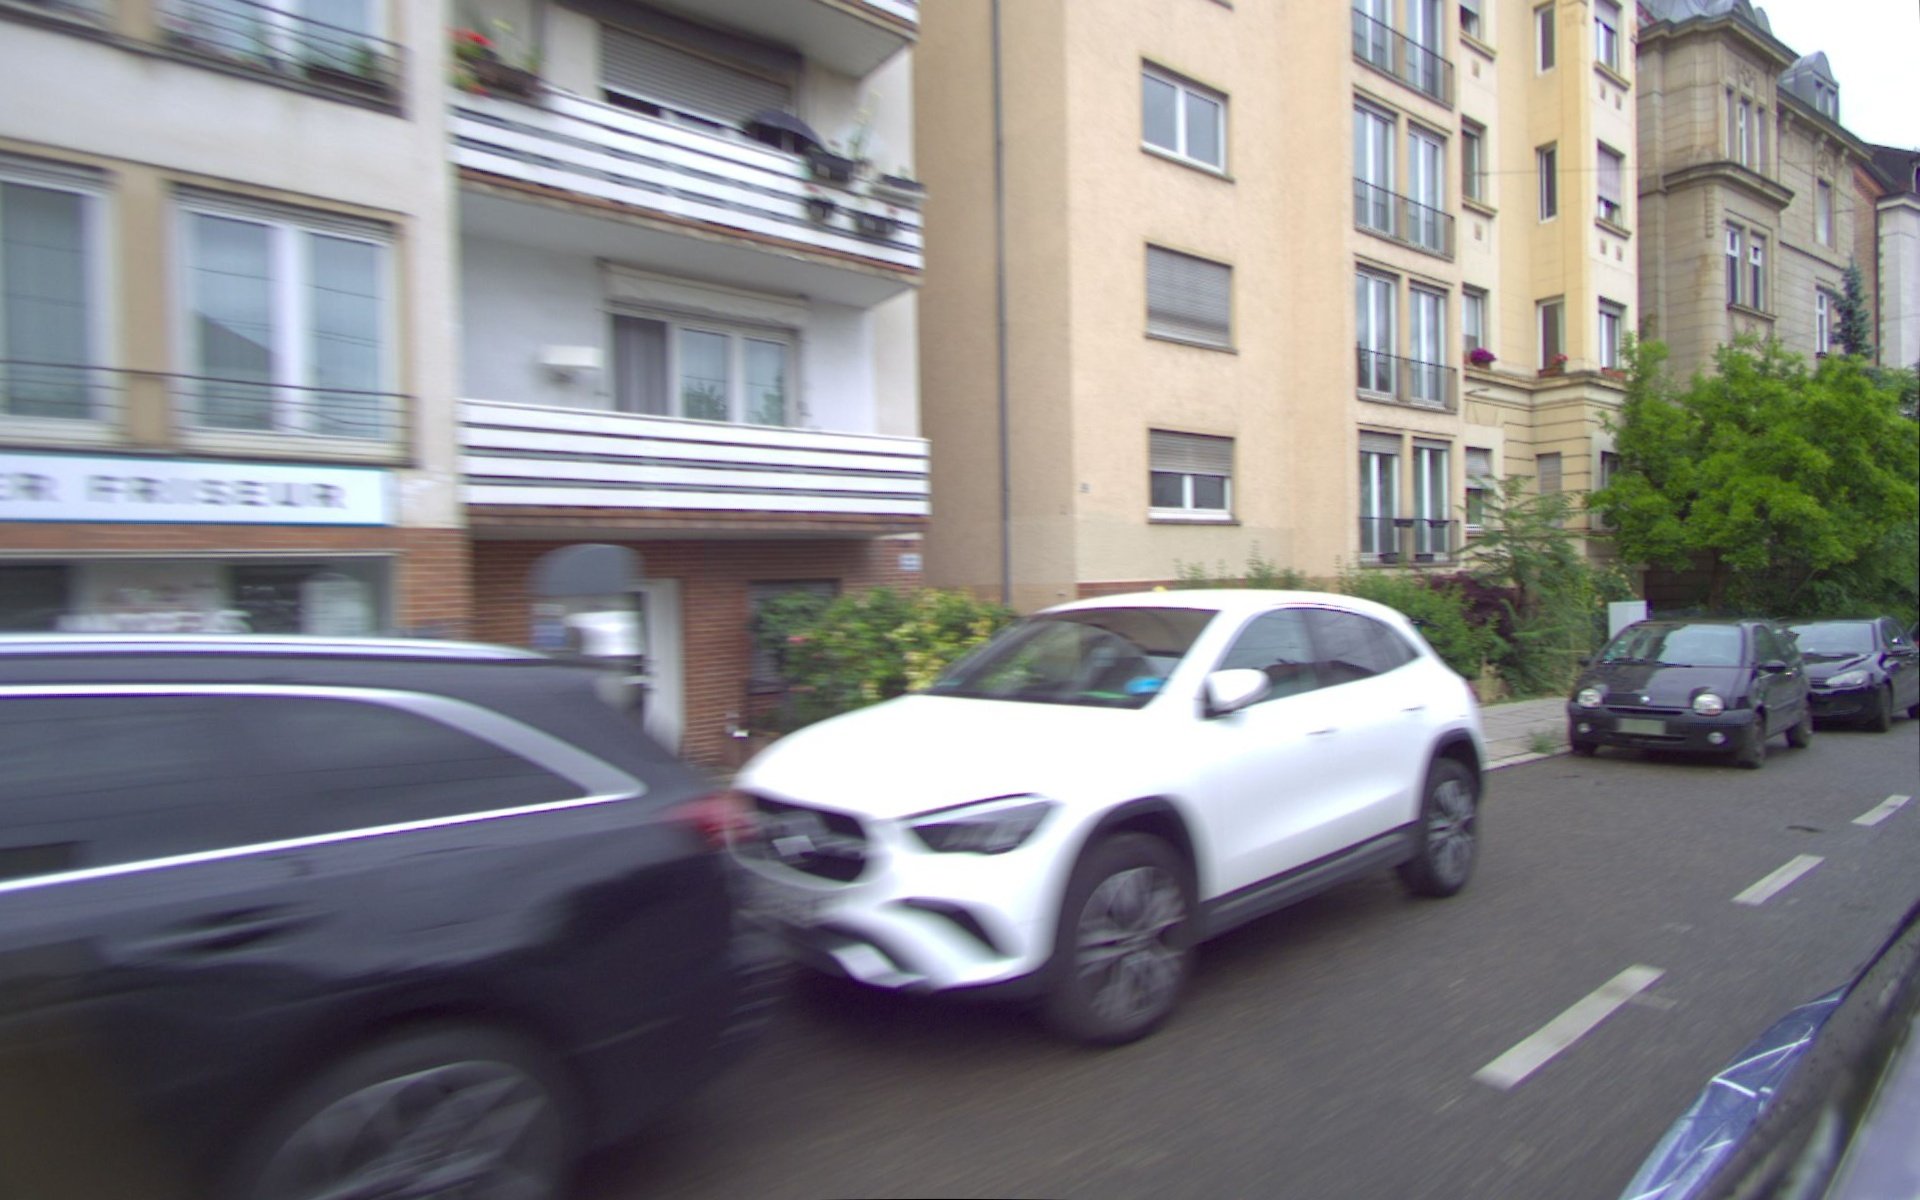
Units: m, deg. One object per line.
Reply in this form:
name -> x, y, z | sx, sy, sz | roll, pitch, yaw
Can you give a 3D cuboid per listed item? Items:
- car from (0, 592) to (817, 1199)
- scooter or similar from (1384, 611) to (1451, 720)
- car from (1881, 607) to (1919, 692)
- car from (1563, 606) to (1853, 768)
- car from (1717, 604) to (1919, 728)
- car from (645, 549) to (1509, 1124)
car -> -2.649, 0.786, 1.907 | 4.489, 1.532, 1.704 | 1, -3, -40
scooter or similar -> 5.644, 0.778, 12.466 | 0.467, 1.250, 1.183 | 3, 1, 36
car -> 18.280, 0.861, 18.203 | 3.767, 1.455, 1.727 | 0, -1, -35
car -> 8.260, 0.799, 11.033 | 4.226, 1.455, 1.559 | 1, -1, -39
car -> 11.990, 0.792, 13.764 | 3.989, 1.455, 1.687 | 1, -1, -37
car -> 0.846, 0.697, 4.910 | 4.174, 1.593, 1.839 | 1, -2, -41
